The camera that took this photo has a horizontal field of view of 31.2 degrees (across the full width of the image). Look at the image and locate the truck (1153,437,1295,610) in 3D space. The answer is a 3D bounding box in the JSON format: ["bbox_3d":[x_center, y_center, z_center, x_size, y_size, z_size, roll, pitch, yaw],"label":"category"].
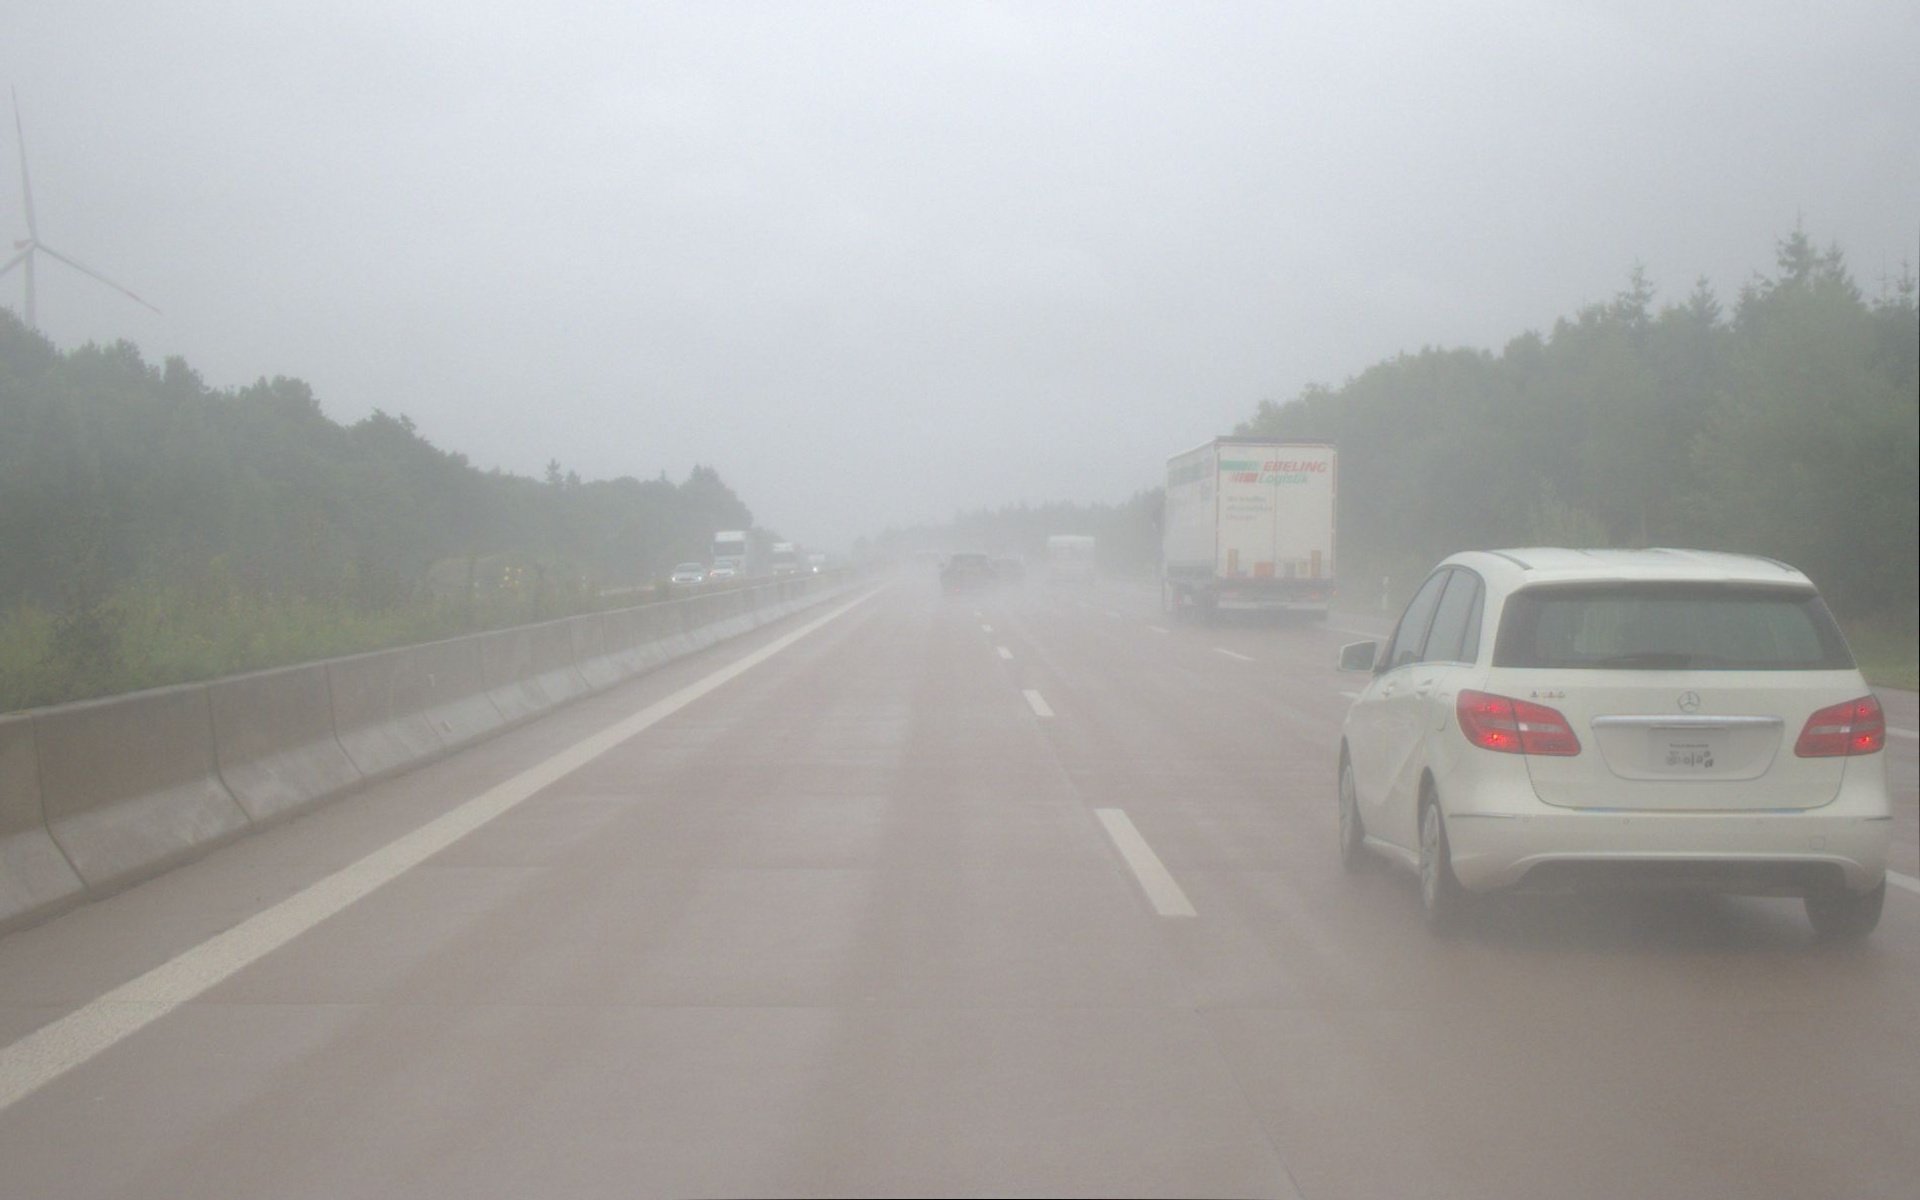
[{"bbox_3d":[6.528,-1.906,85.839,2.880,4.092,6.350,-1,1,-1],"label":"truck"}]

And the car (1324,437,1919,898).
[{"bbox_3d":[2.800,0.226,15.455,1.808,1.722,4.744,1,1,0],"label":"car"}]

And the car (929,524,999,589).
[{"bbox_3d":[0.128,-1.443,113.435,2.173,1.974,4.130,3,1,0],"label":"car"}]

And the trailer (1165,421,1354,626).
[{"bbox_3d":[6.663,-1.740,78.540,2.852,4.217,13.133,-1,1,-1],"label":"trailer"}]
